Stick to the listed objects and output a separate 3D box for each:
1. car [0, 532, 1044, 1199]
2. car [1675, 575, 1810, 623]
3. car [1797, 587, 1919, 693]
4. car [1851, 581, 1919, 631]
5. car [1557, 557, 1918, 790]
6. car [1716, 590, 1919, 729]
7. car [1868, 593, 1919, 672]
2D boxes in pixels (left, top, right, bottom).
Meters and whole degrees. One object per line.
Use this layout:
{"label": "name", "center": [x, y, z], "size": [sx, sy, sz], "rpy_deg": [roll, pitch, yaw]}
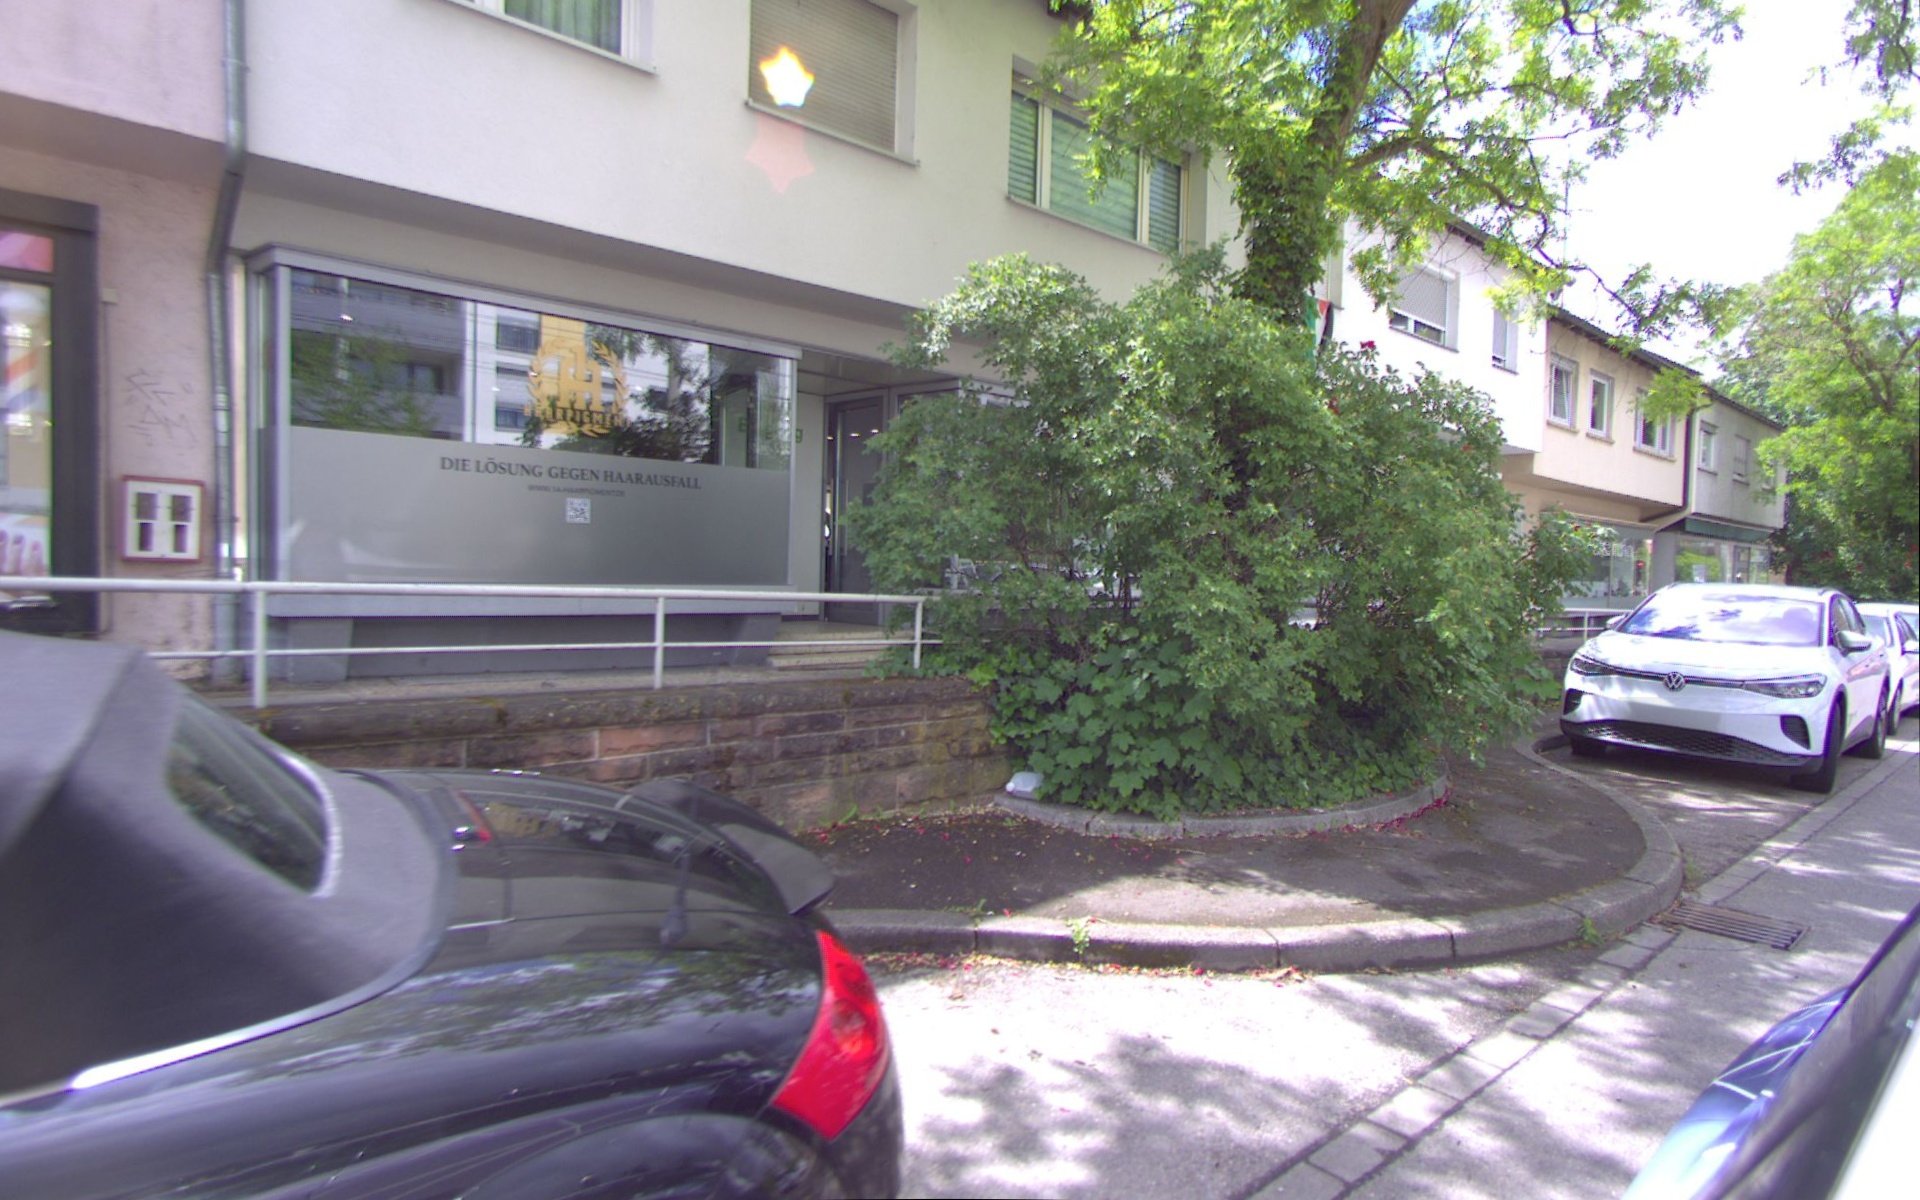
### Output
{"label": "car", "center": [-1.996, 0.609, 1.073], "size": [3.926, 1.365, 1.778], "rpy_deg": [0, 4, -37]}
{"label": "car", "center": [29.774, -0.076, 38.656], "size": [3.916, 1.537, 1.779], "rpy_deg": [5, 3, 36]}
{"label": "car", "center": [15.726, 0.588, 16.837], "size": [4.822, 1.517, 1.818], "rpy_deg": [0, 2, -39]}
{"label": "car", "center": [33.224, 0.244, 34.602], "size": [1.805, 1.590, 3.656], "rpy_deg": [0, 4, -29]}
{"label": "car", "center": [7.344, 0.493, 9.387], "size": [4.353, 1.664, 1.841], "rpy_deg": [0, 2, -41]}
{"label": "car", "center": [11.351, 0.629, 12.964], "size": [4.367, 1.444, 1.728], "rpy_deg": [0, 2, -40]}
{"label": "car", "center": [19.799, 0.625, 20.238], "size": [3.968, 1.481, 1.818], "rpy_deg": [0, 2, -39]}
